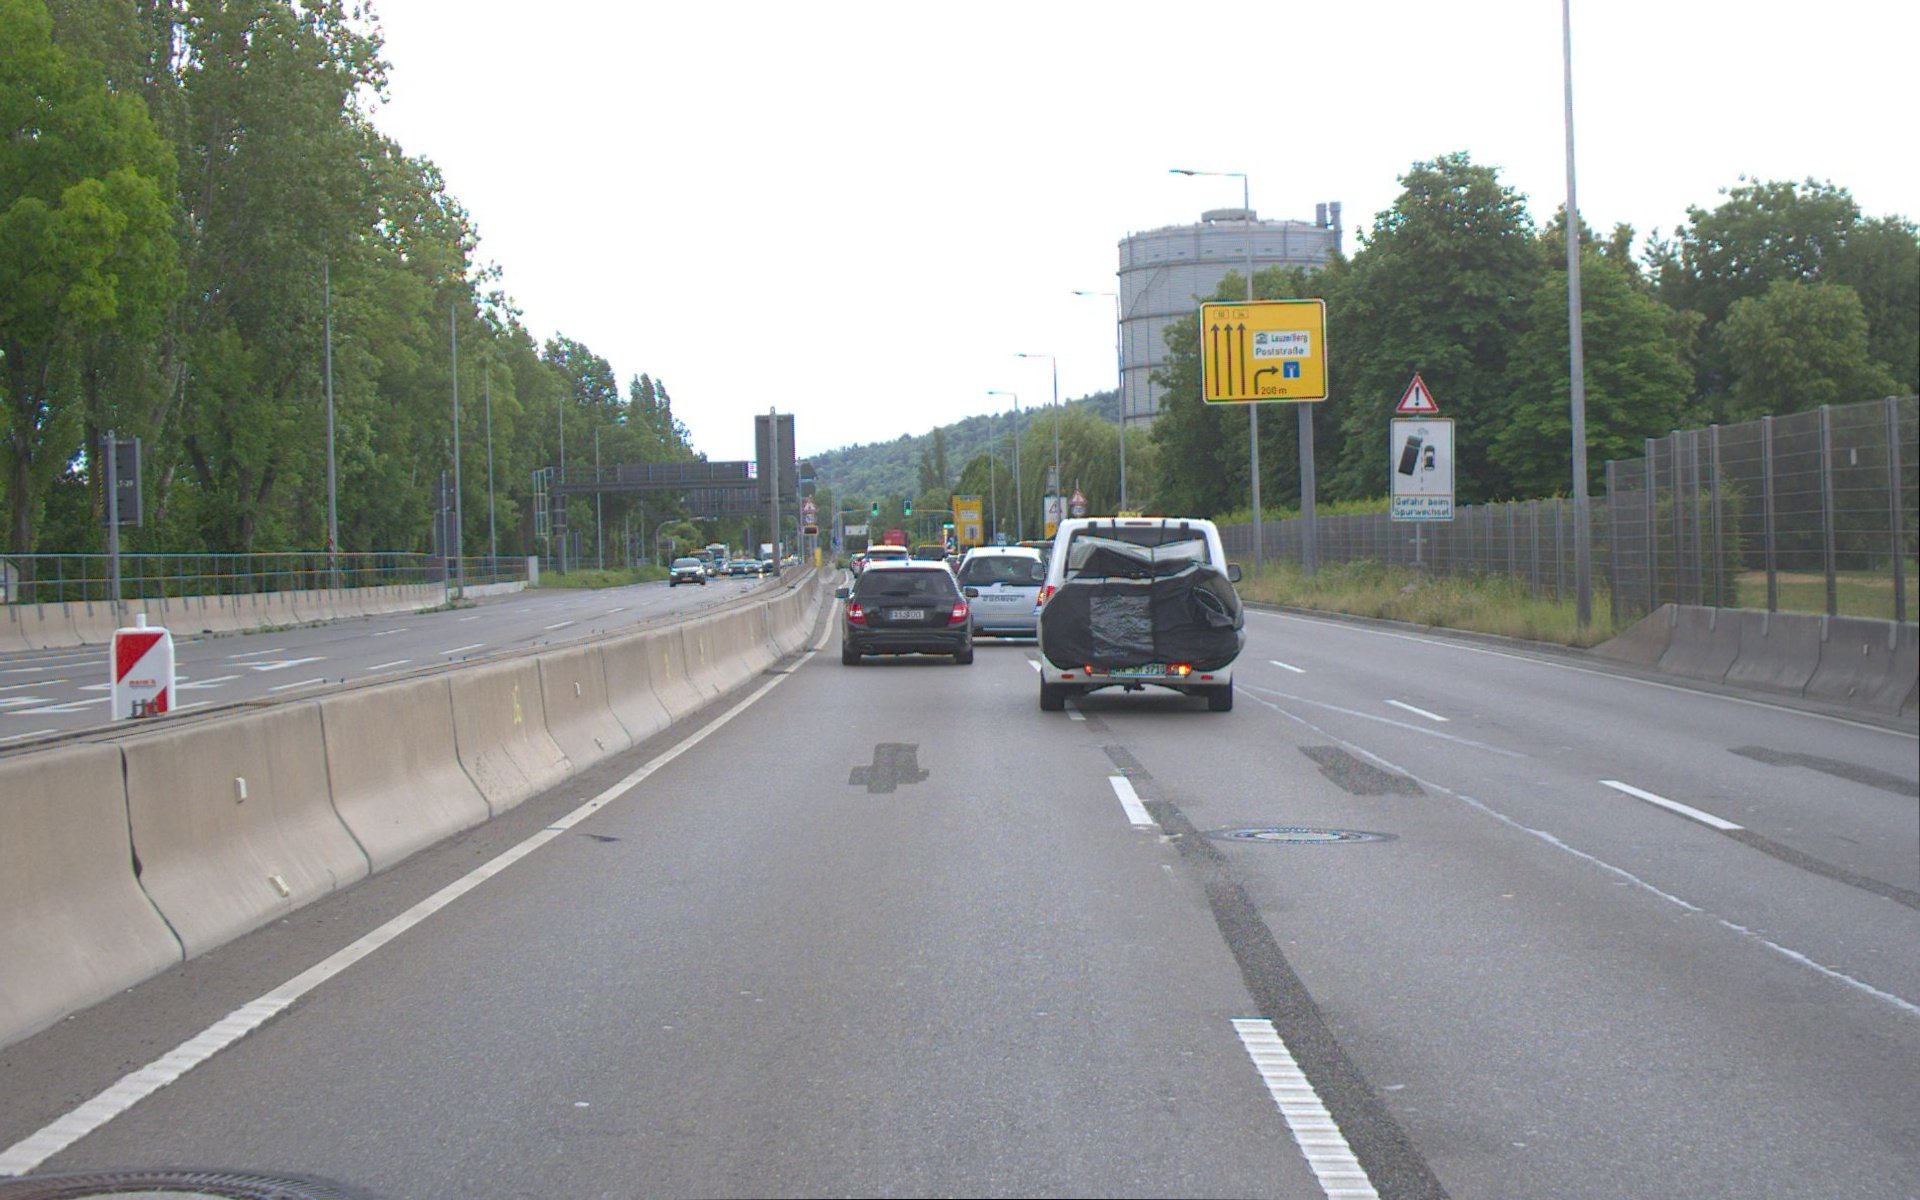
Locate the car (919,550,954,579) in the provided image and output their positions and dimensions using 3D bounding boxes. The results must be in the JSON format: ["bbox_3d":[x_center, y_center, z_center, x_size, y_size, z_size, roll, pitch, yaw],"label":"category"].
[{"bbox_3d":[-1.393,-2.101,202.263,1.993,1.648,4.000,0,1,-2],"label":"car"}]

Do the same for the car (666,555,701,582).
[{"bbox_3d":[-14.148,-1.624,176.194,1.733,1.369,3.617,-1,1,-4],"label":"car"}]

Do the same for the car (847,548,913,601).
[{"bbox_3d":[-2.593,-0.821,111.789,1.993,1.667,4.000,0,0,1],"label":"car"}]

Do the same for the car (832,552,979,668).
[{"bbox_3d":[-0.700,0.103,46.806,1.815,1.429,4.065,-2,1,1],"label":"car"}]

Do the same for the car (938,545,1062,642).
[{"bbox_3d":[0.673,-0.131,55.389,1.921,1.483,4.065,-1,1,2],"label":"car"}]

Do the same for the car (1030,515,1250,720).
[{"bbox_3d":[1.754,0.115,33.999,1.993,1.853,5.641,0,1,2],"label":"car"}]
